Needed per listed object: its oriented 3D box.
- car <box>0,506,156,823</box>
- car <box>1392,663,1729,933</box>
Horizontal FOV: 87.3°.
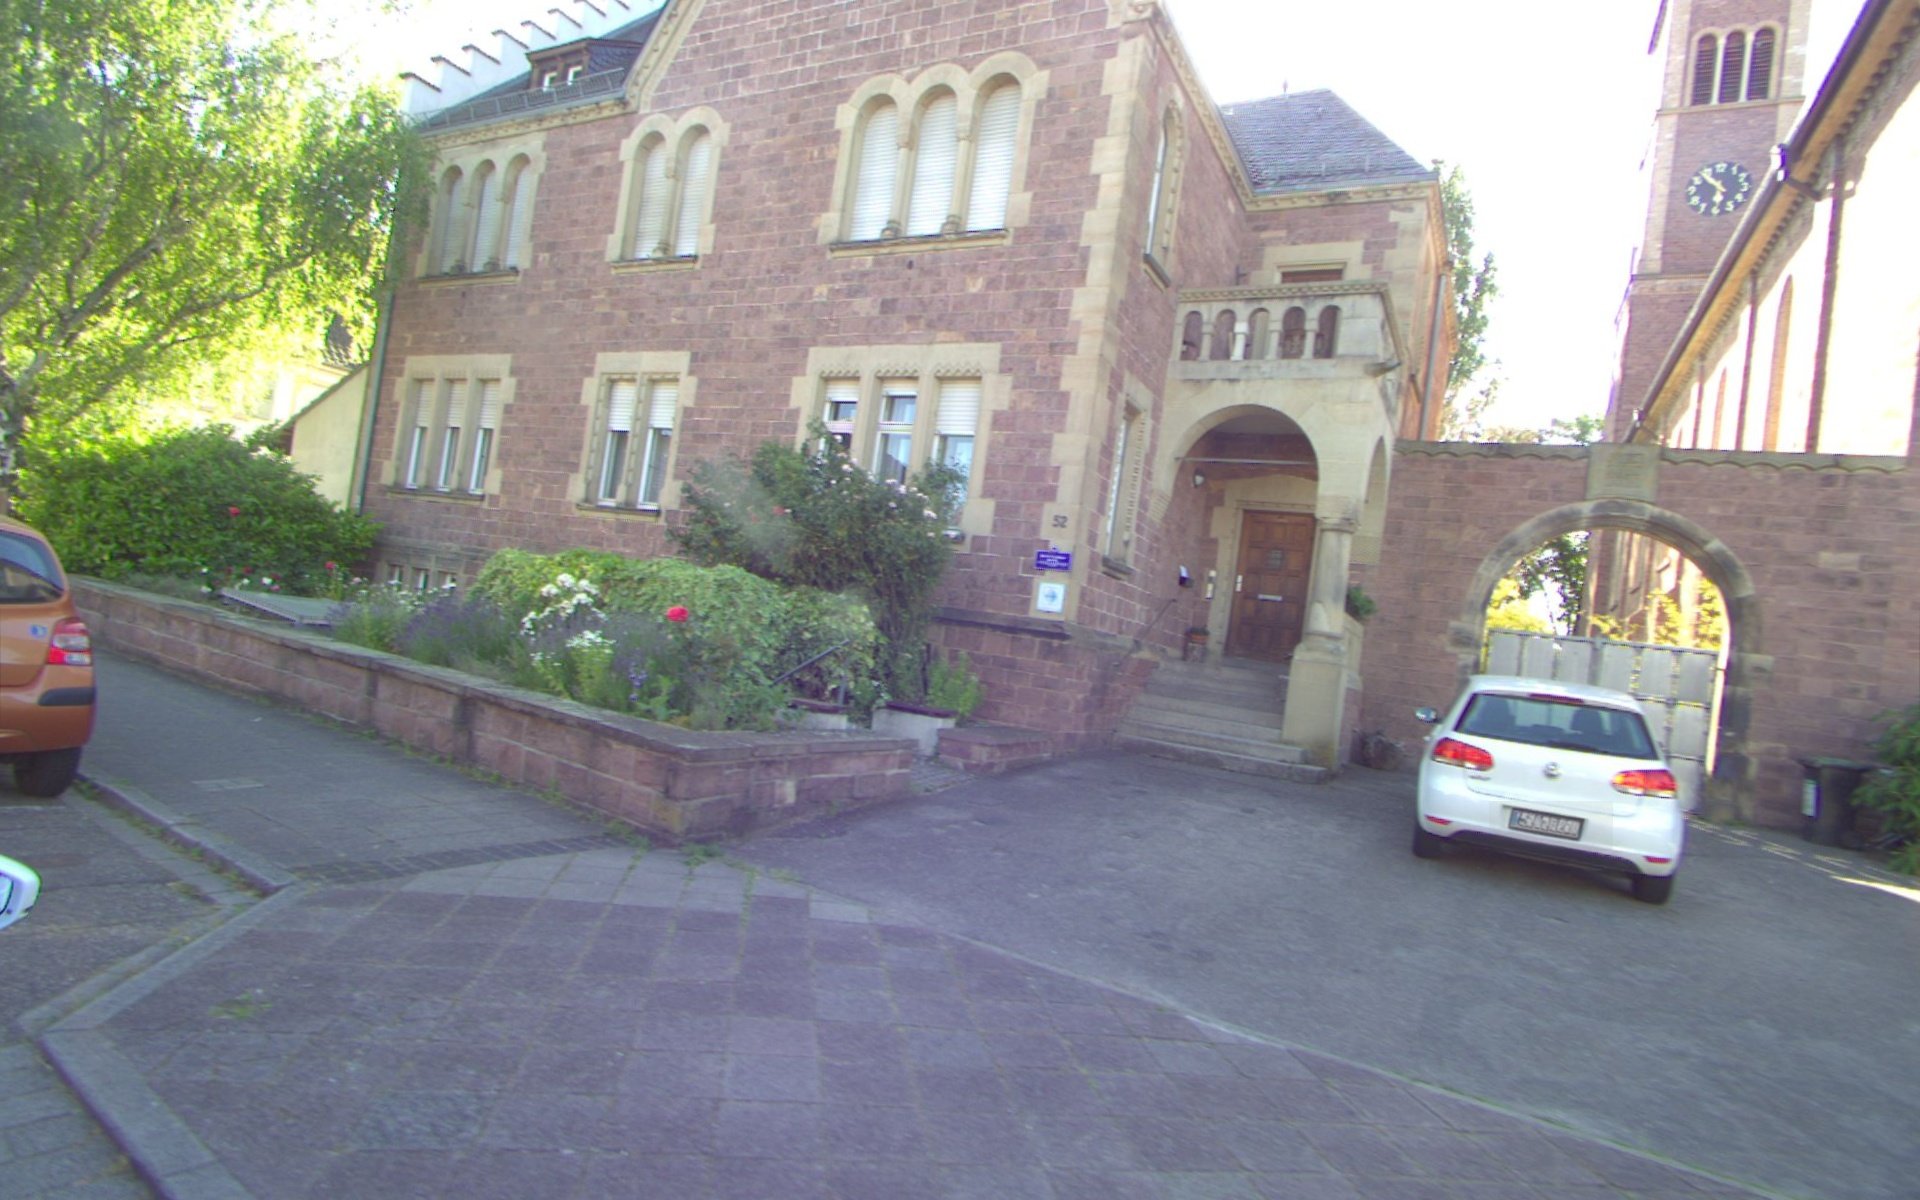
[{"bbox_3d":[-6.321,0.086,5.577,3.869,1.495,1.651,7,-3,33],"label":"car"},{"bbox_3d":[4.948,1.413,8.657,1.872,1.515,3.904,5,0,27],"label":"car"}]
